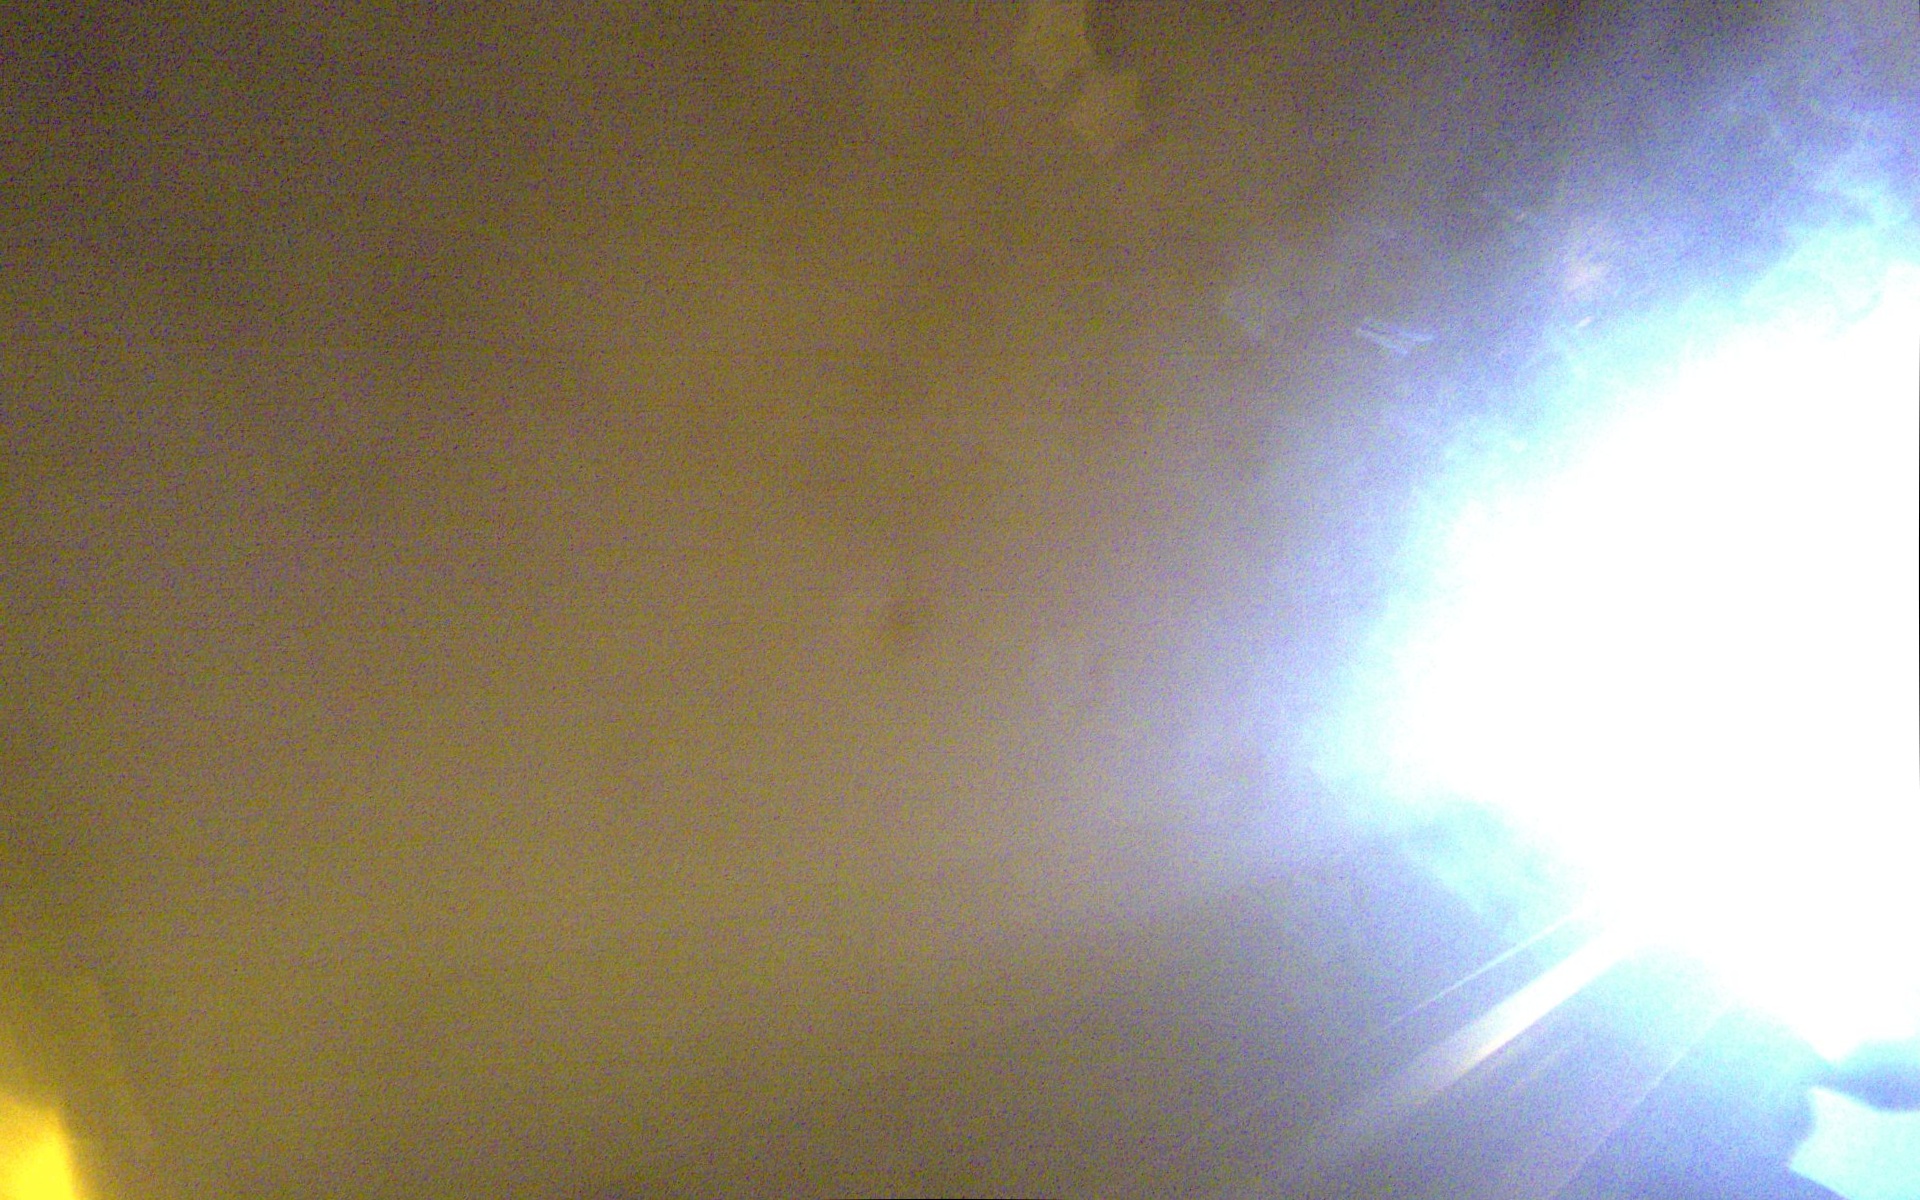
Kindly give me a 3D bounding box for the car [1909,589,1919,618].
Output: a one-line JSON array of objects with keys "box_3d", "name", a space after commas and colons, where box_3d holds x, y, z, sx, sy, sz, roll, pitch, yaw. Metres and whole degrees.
[{"box_3d": [68.320, 0.236, 71.222, 1.891, 2.039, 3.943, 1, 2, 39], "name": "car"}]
